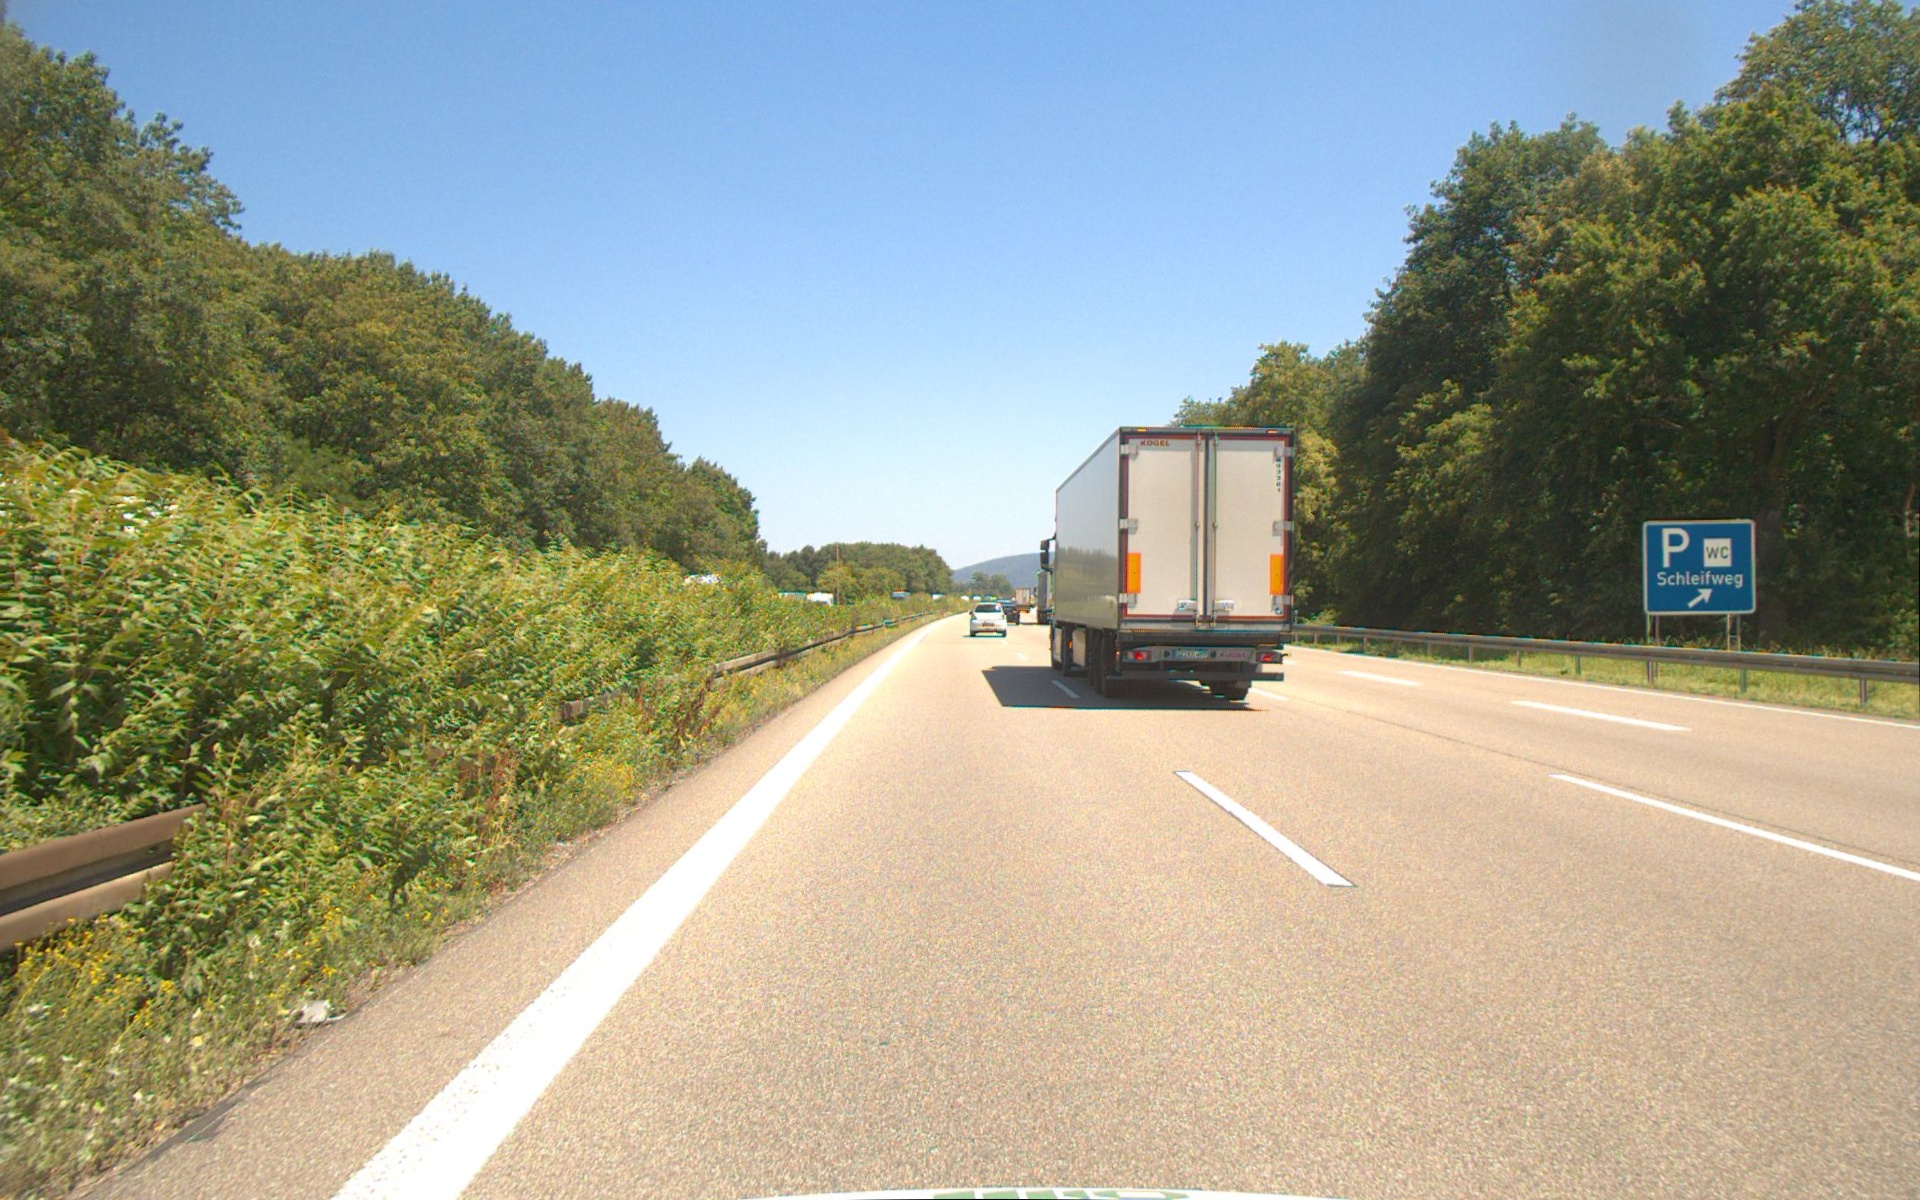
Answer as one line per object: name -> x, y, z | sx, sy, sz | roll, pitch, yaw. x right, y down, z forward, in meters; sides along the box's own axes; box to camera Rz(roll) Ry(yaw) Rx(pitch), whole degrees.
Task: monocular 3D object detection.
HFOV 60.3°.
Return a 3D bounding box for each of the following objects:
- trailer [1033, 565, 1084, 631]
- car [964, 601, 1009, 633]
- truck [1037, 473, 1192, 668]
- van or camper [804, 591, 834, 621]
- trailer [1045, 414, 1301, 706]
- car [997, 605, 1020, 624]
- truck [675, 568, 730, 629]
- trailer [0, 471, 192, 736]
trailer -> 7.337, -0.172, 124.958 | 3.116, 4.708, 12.050 | 0, 0, 0
car -> 1.186, 0.756, 76.019 | 1.776, 1.429, 3.314 | 0, 0, -4
truck -> 3.473, -0.661, 38.277 | 3.162, 4.230, 4.560 | 0, 0, 0
van or camper -> -15.292, 0.579, 179.612 | 2.370, 3.166, 9.087 | -1, 0, 0
trailer -> 3.414, -0.611, 30.224 | 3.157, 4.216, 12.352 | 0, 0, 0
car -> 3.534, 1.038, 119.824 | 1.633, 1.312, 4.001 | 0, 0, 2
truck -> -16.741, -0.111, 107.926 | 2.831, 3.890, 4.884 | 0, 0, -1
trailer -> -16.362, 0.047, 25.913 | 2.861, 4.121, 12.912 | 0, 0, -1
